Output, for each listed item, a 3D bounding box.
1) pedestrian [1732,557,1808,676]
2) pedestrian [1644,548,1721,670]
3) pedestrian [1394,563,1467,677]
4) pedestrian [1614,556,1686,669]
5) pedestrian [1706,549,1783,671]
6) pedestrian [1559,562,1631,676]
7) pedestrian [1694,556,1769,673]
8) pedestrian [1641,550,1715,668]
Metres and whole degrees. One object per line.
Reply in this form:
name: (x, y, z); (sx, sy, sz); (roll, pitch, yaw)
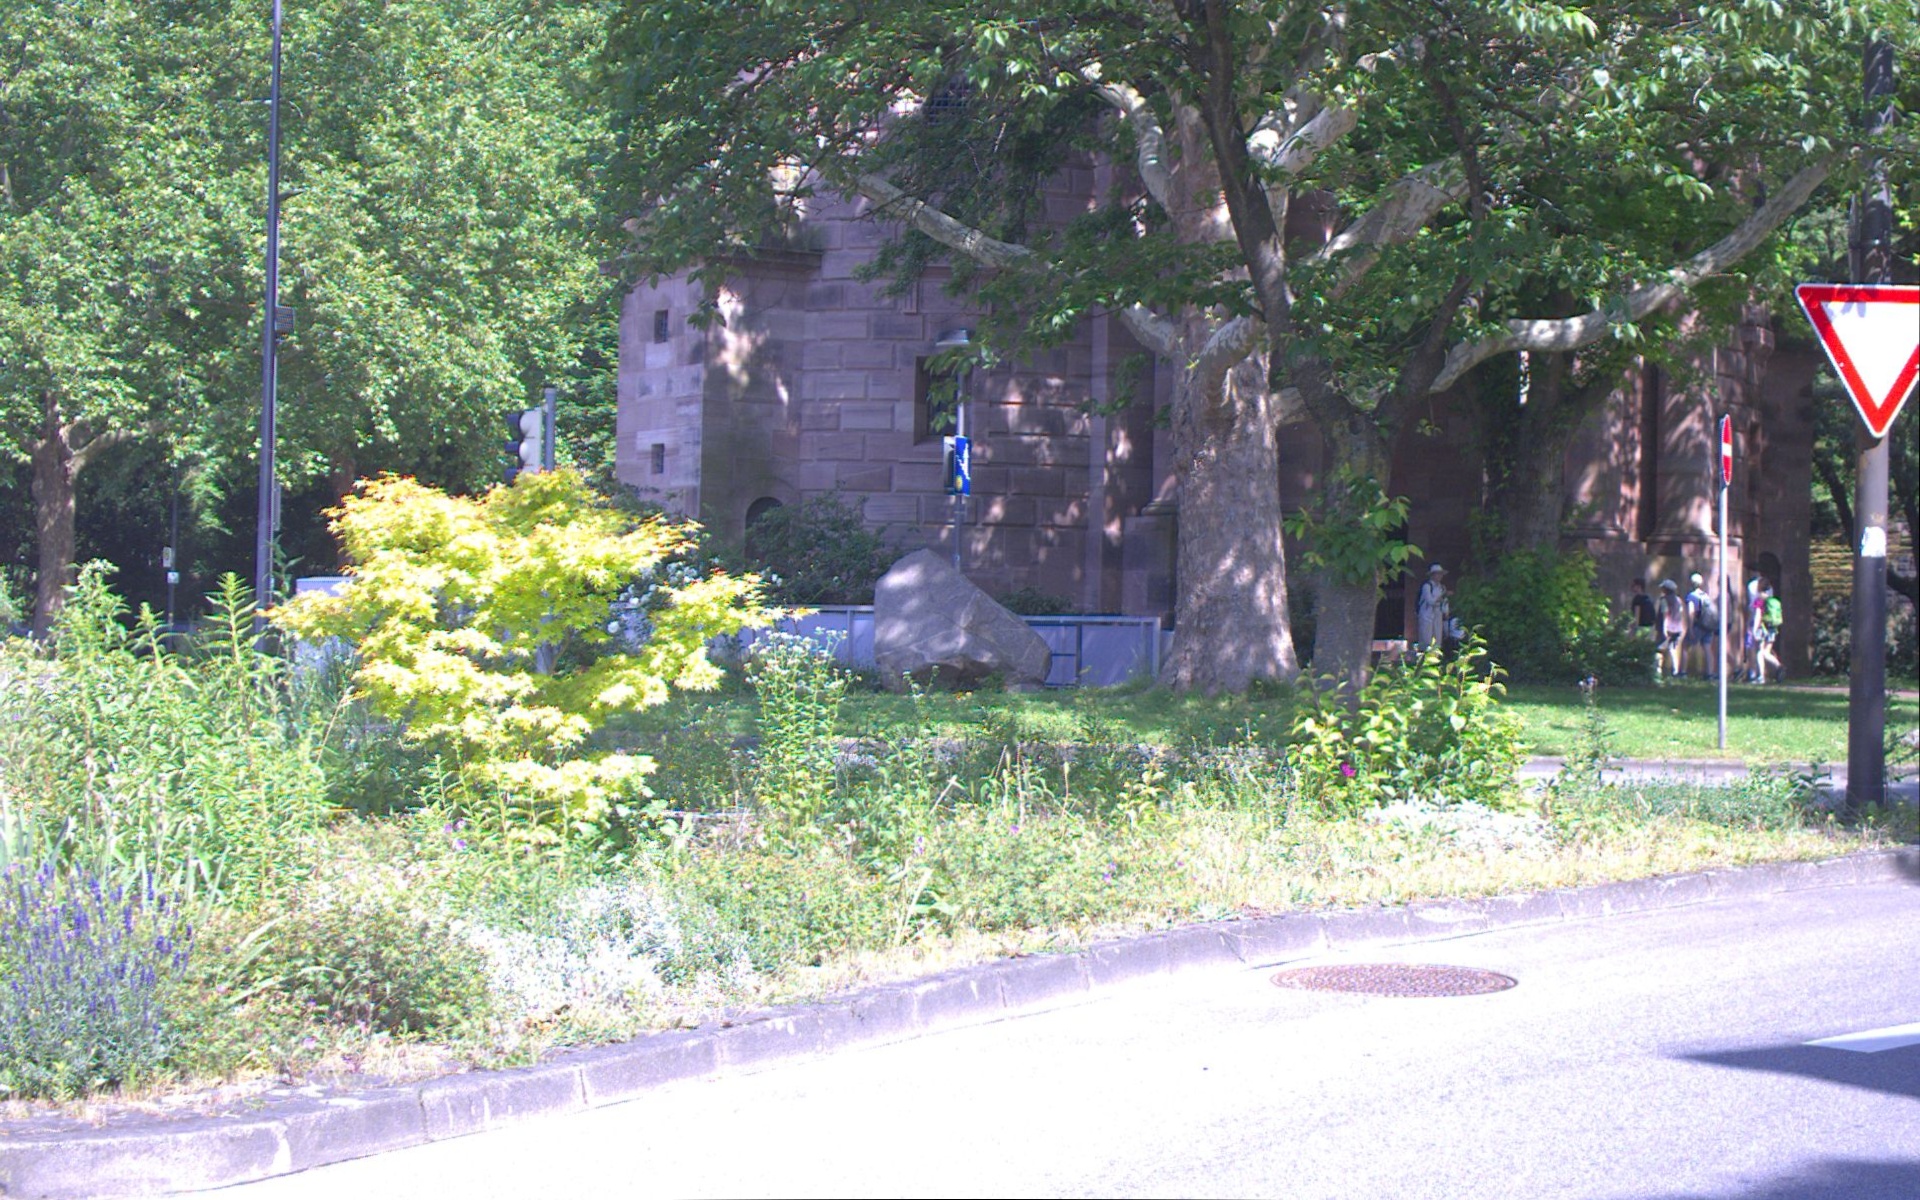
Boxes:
pedestrian: (12.227, 0.246, 51.924); (0.792, 1.750, 0.666); (3, -1, -23)
pedestrian: (10.699, 0.131, 50.904); (0.792, 1.750, 0.666); (3, -1, -23)
pedestrian: (7.402, 0.307, 54.087); (0.792, 1.776, 0.876); (0, 1, -22)
pedestrian: (10.937, 0.199, 54.498); (0.792, 1.750, 0.666); (3, -1, -23)
pedestrian: (11.607, 0.147, 50.856); (0.792, 1.750, 0.666); (3, -1, -23)
pedestrian: (9.991, 0.299, 54.083); (0.792, 1.750, 0.666); (3, -1, -23)
pedestrian: (11.833, 0.220, 52.737); (0.792, 1.750, 0.666); (3, -1, -23)
pedestrian: (10.936, 0.133, 52.367); (0.792, 1.750, 0.666); (3, -1, -23)
